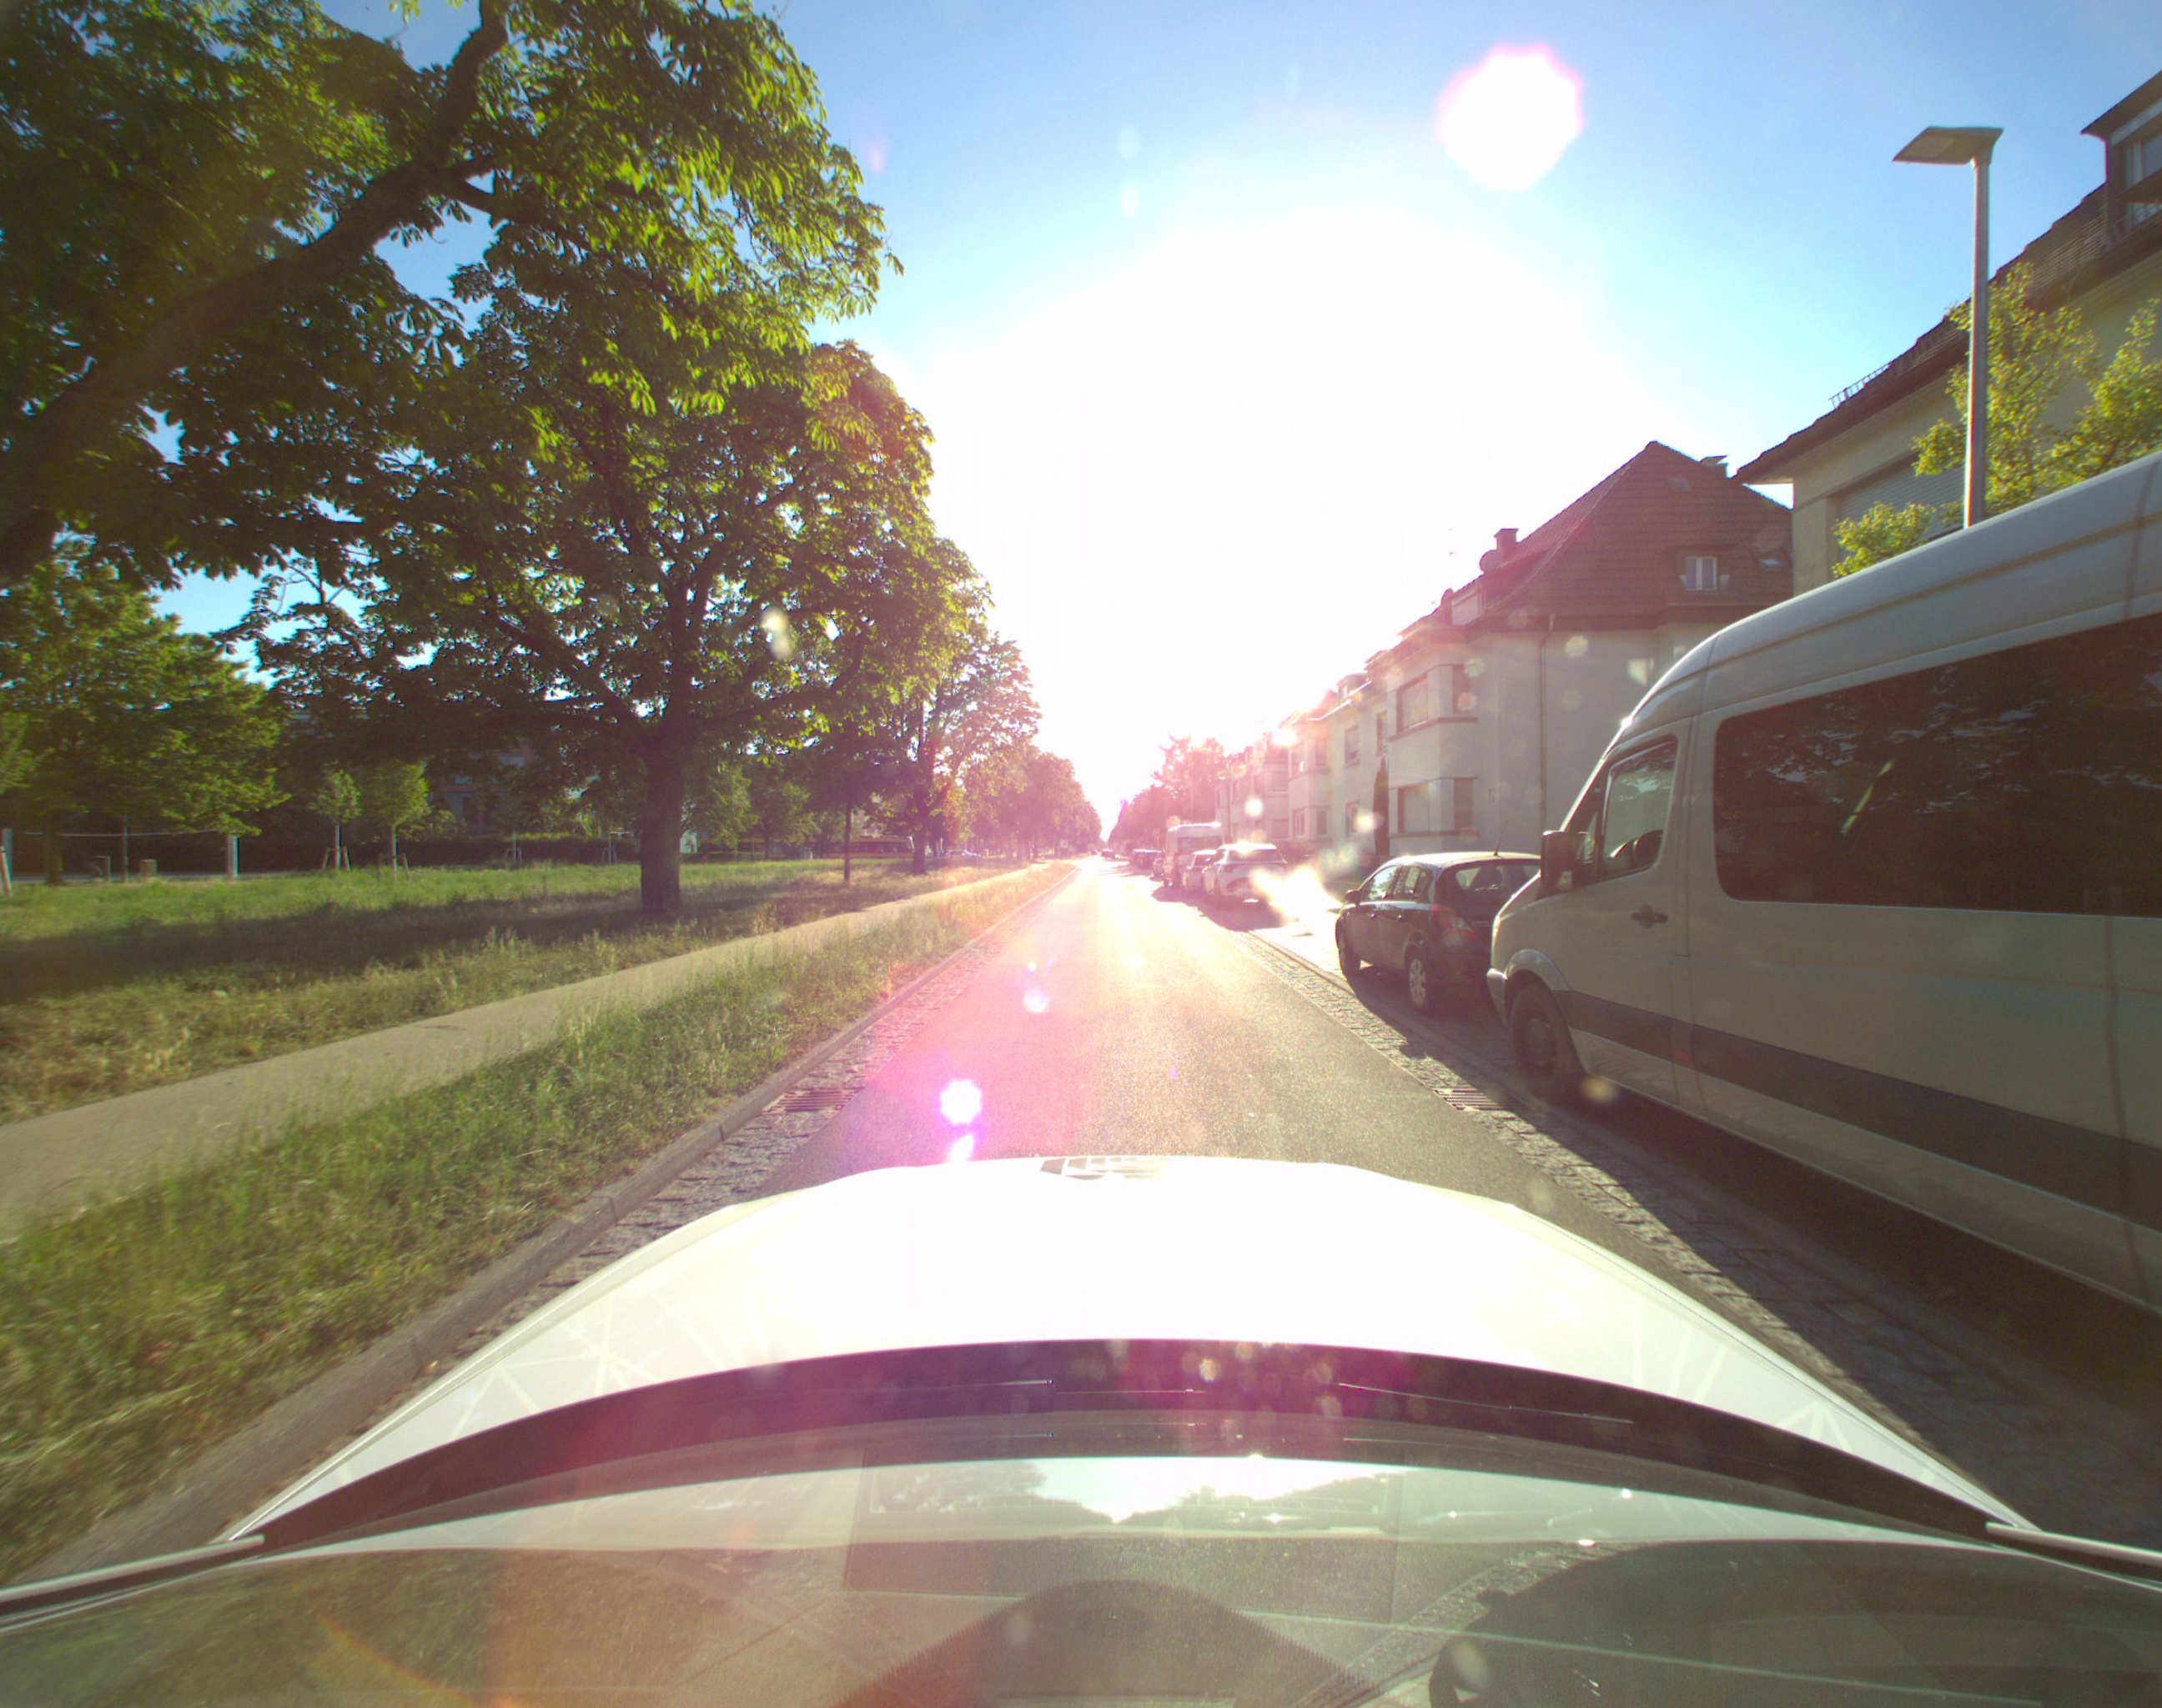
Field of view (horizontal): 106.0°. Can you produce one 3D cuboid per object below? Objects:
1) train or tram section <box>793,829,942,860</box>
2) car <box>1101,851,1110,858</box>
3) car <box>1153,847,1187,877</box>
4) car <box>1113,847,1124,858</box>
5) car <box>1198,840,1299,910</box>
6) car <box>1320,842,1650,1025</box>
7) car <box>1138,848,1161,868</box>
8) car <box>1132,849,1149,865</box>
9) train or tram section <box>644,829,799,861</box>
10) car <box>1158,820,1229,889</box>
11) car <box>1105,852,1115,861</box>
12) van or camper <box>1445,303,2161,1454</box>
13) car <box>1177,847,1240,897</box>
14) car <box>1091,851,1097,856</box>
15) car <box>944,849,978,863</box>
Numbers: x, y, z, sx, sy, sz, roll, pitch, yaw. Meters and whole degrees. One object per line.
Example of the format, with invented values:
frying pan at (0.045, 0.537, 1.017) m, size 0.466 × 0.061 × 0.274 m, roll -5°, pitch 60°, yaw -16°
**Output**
train or tram section at (-29.709, -1.265, 114.268) m, size 19.764 × 3.956 × 3.635 m, roll 1°, pitch 0°, yaw -7°
car at (5.251, 0.117, 173.181) m, size 1.643 × 1.530 × 3.854 m, roll -2°, pitch 0°, yaw 3°
car at (4.976, 0.410, 45.712) m, size 1.643 × 1.530 × 3.854 m, roll -2°, pitch 0°, yaw 3°
car at (5.588, -0.198, 120.893) m, size 1.643 × 1.530 × 3.854 m, roll -2°, pitch 0°, yaw 3°
car at (4.373, 0.492, 21.868) m, size 1.831 × 1.636 × 4.131 m, roll -2°, pitch 0°, yaw 0°
car at (3.933, 0.667, 8.750) m, size 1.615 × 1.411 × 3.970 m, roll -4°, pitch 0°, yaw 2°
car at (5.434, 0.302, 65.170) m, size 1.643 × 1.530 × 3.854 m, roll -2°, pitch 0°, yaw 3°
car at (5.978, 0.297, 82.018) m, size 1.643 × 1.530 × 3.854 m, roll -2°, pitch 0°, yaw 3°
train or tram section at (-48.962, -1.189, 111.669) m, size 19.060 × 3.956 × 3.634 m, roll 1°, pitch 0°, yaw -8°
car at (4.486, 0.010, 33.283) m, size 2.120 × 2.532 × 5.187 m, roll -2°, pitch 0°, yaw 0°
car at (4.954, 0.435, 139.182) m, size 1.643 × 1.530 × 3.854 m, roll -2°, pitch 0°, yaw 3°
van or camper at (3.619, 0.071, 3.159) m, size 1.936 × 2.777 × 5.942 m, roll 1°, pitch 0°, yaw 2°
car at (4.213, 0.546, 27.367) m, size 1.643 × 1.530 × 3.854 m, roll -2°, pitch 0°, yaw 3°
car at (3.719, -0.123, 232.142) m, size 1.803 × 1.530 × 3.854 m, roll -2°, pitch 0°, yaw 3°
car at (-15.748, 0.239, 106.727) m, size 4.342 × 1.764 × 1.995 m, roll 1°, pitch 0°, yaw -7°
